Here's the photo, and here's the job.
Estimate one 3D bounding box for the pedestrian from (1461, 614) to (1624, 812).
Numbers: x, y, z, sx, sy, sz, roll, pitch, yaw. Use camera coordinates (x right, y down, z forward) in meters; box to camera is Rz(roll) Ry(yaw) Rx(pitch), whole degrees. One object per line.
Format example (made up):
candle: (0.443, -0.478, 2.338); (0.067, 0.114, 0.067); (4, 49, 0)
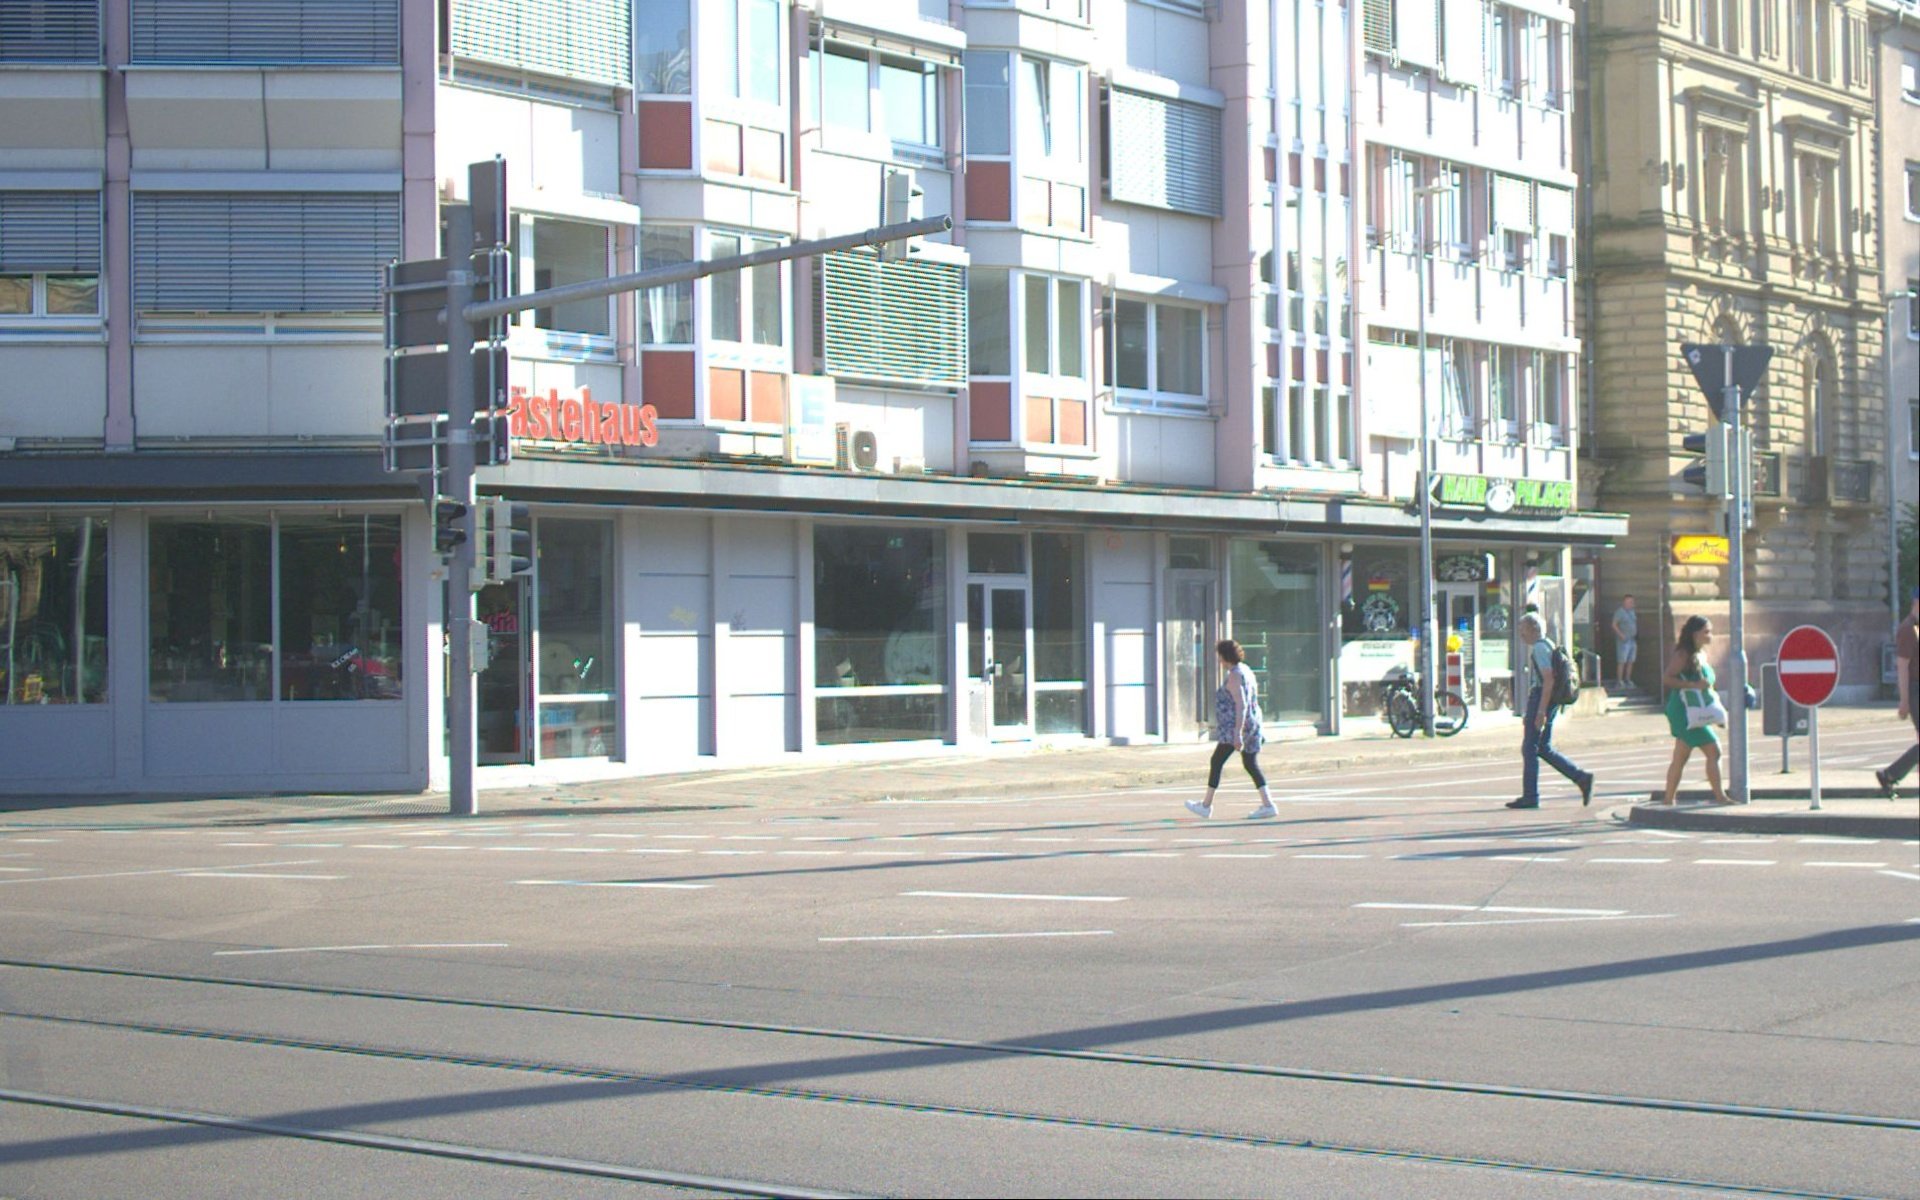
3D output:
pedestrian: (5.240, 1.001, 30.931); (1.196, 1.725, 0.855); (1, 0, 31)

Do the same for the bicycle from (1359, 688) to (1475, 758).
bicycle: (7.216, 1.930, 54.201); (2.085, 1.067, 0.452); (1, 0, -38)

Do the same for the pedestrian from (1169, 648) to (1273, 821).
pedestrian: (2.287, 1.186, 30.072); (0.854, 1.460, 0.686); (1, -5, 7)

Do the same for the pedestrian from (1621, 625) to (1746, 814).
pedestrian: (5.729, 0.932, 27.190); (0.706, 1.448, 0.855); (1, 0, 31)

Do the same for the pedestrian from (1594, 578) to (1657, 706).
pedestrian: (12.619, 0.799, 65.204); (0.927, 2.390, 0.959); (1, 0, 25)

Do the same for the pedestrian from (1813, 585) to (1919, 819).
pedestrian: (7.734, 0.826, 28.216); (1.196, 1.877, 0.855); (1, 0, 31)
